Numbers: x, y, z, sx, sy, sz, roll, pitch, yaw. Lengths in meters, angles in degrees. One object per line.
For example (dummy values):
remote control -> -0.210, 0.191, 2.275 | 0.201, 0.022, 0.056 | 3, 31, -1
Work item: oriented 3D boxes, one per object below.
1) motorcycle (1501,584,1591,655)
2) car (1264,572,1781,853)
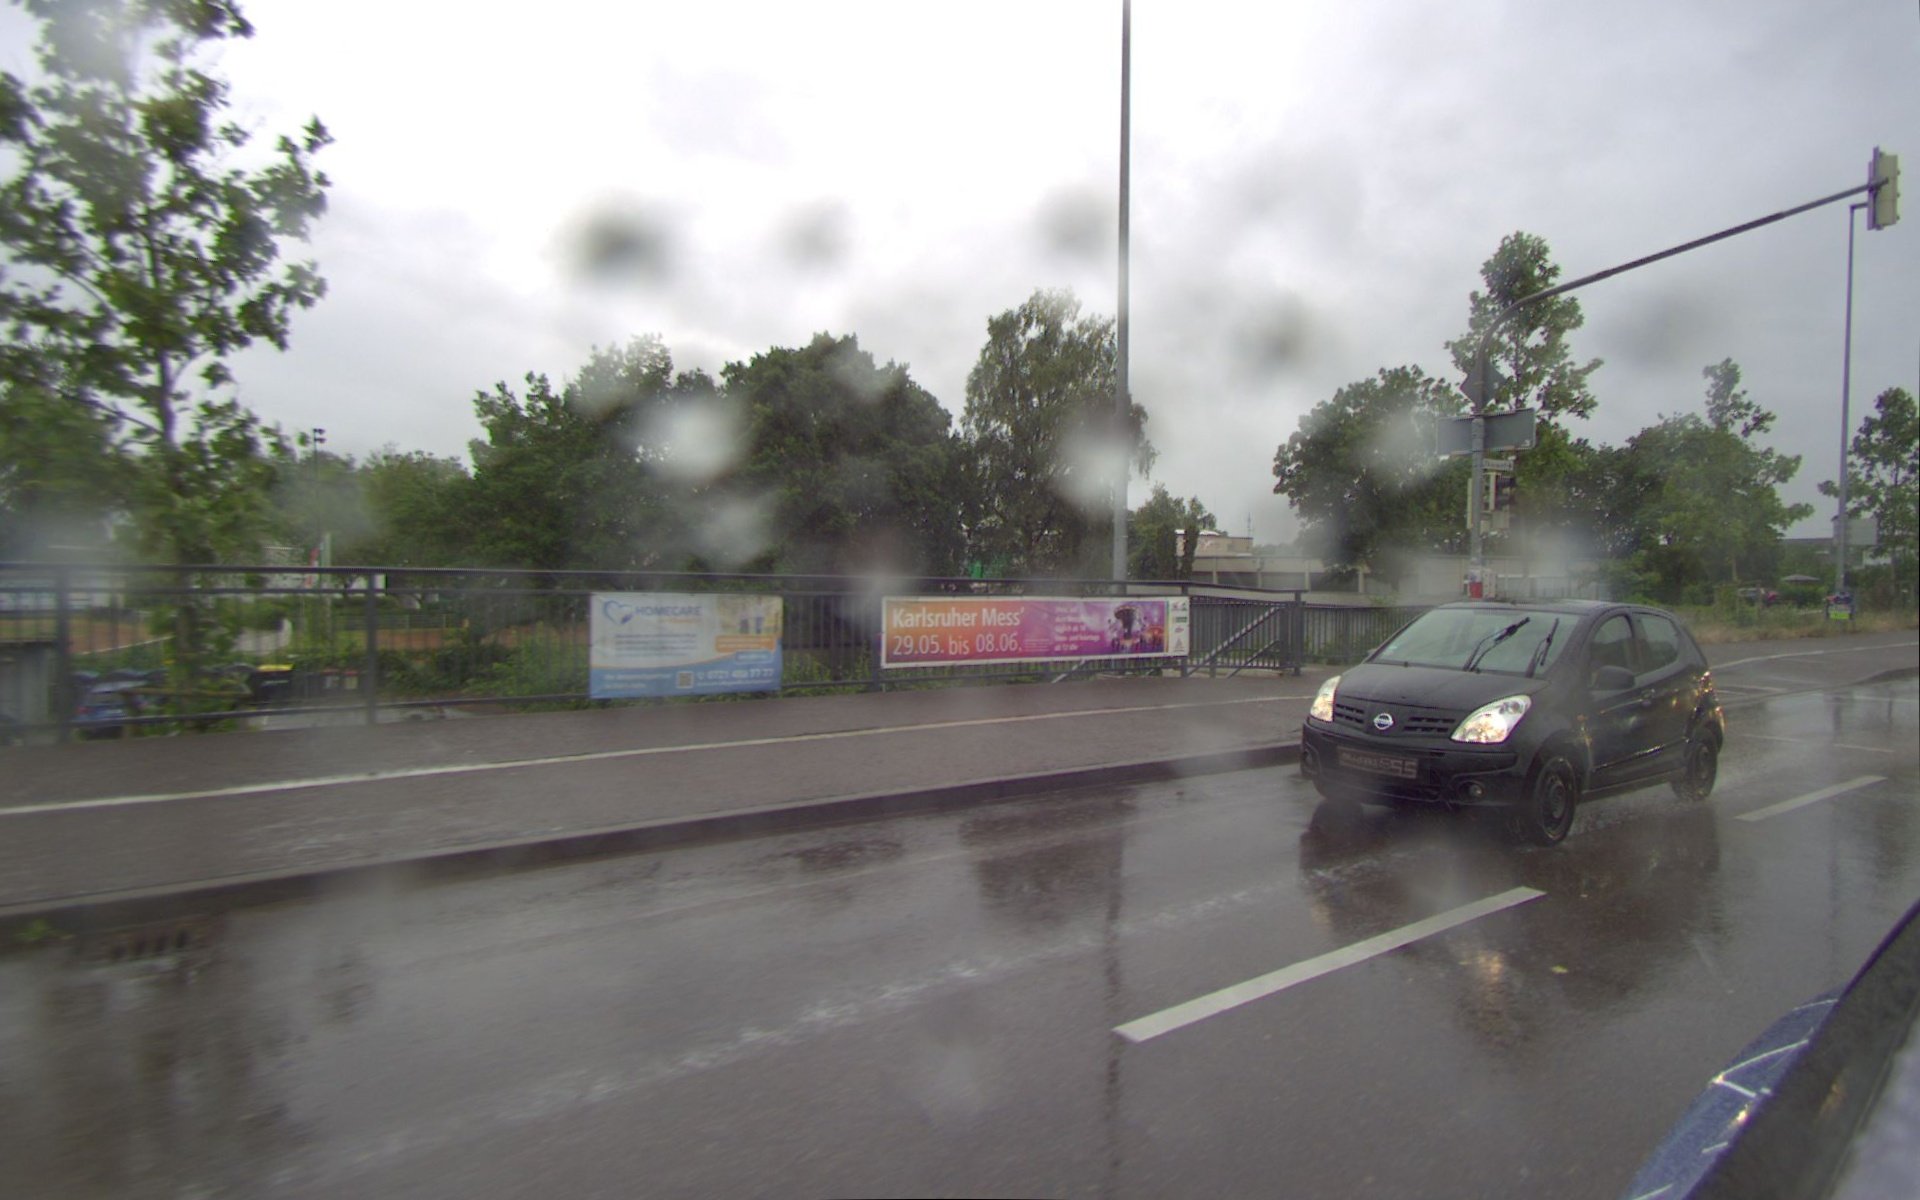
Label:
motorcycle -> 10.634, 0.344, 18.369 | 1.417, 1.233, 0.635 | 1, 2, -22
car -> 4.165, 0.617, 7.263 | 4.016, 1.480, 1.776 | 1, -1, -37
